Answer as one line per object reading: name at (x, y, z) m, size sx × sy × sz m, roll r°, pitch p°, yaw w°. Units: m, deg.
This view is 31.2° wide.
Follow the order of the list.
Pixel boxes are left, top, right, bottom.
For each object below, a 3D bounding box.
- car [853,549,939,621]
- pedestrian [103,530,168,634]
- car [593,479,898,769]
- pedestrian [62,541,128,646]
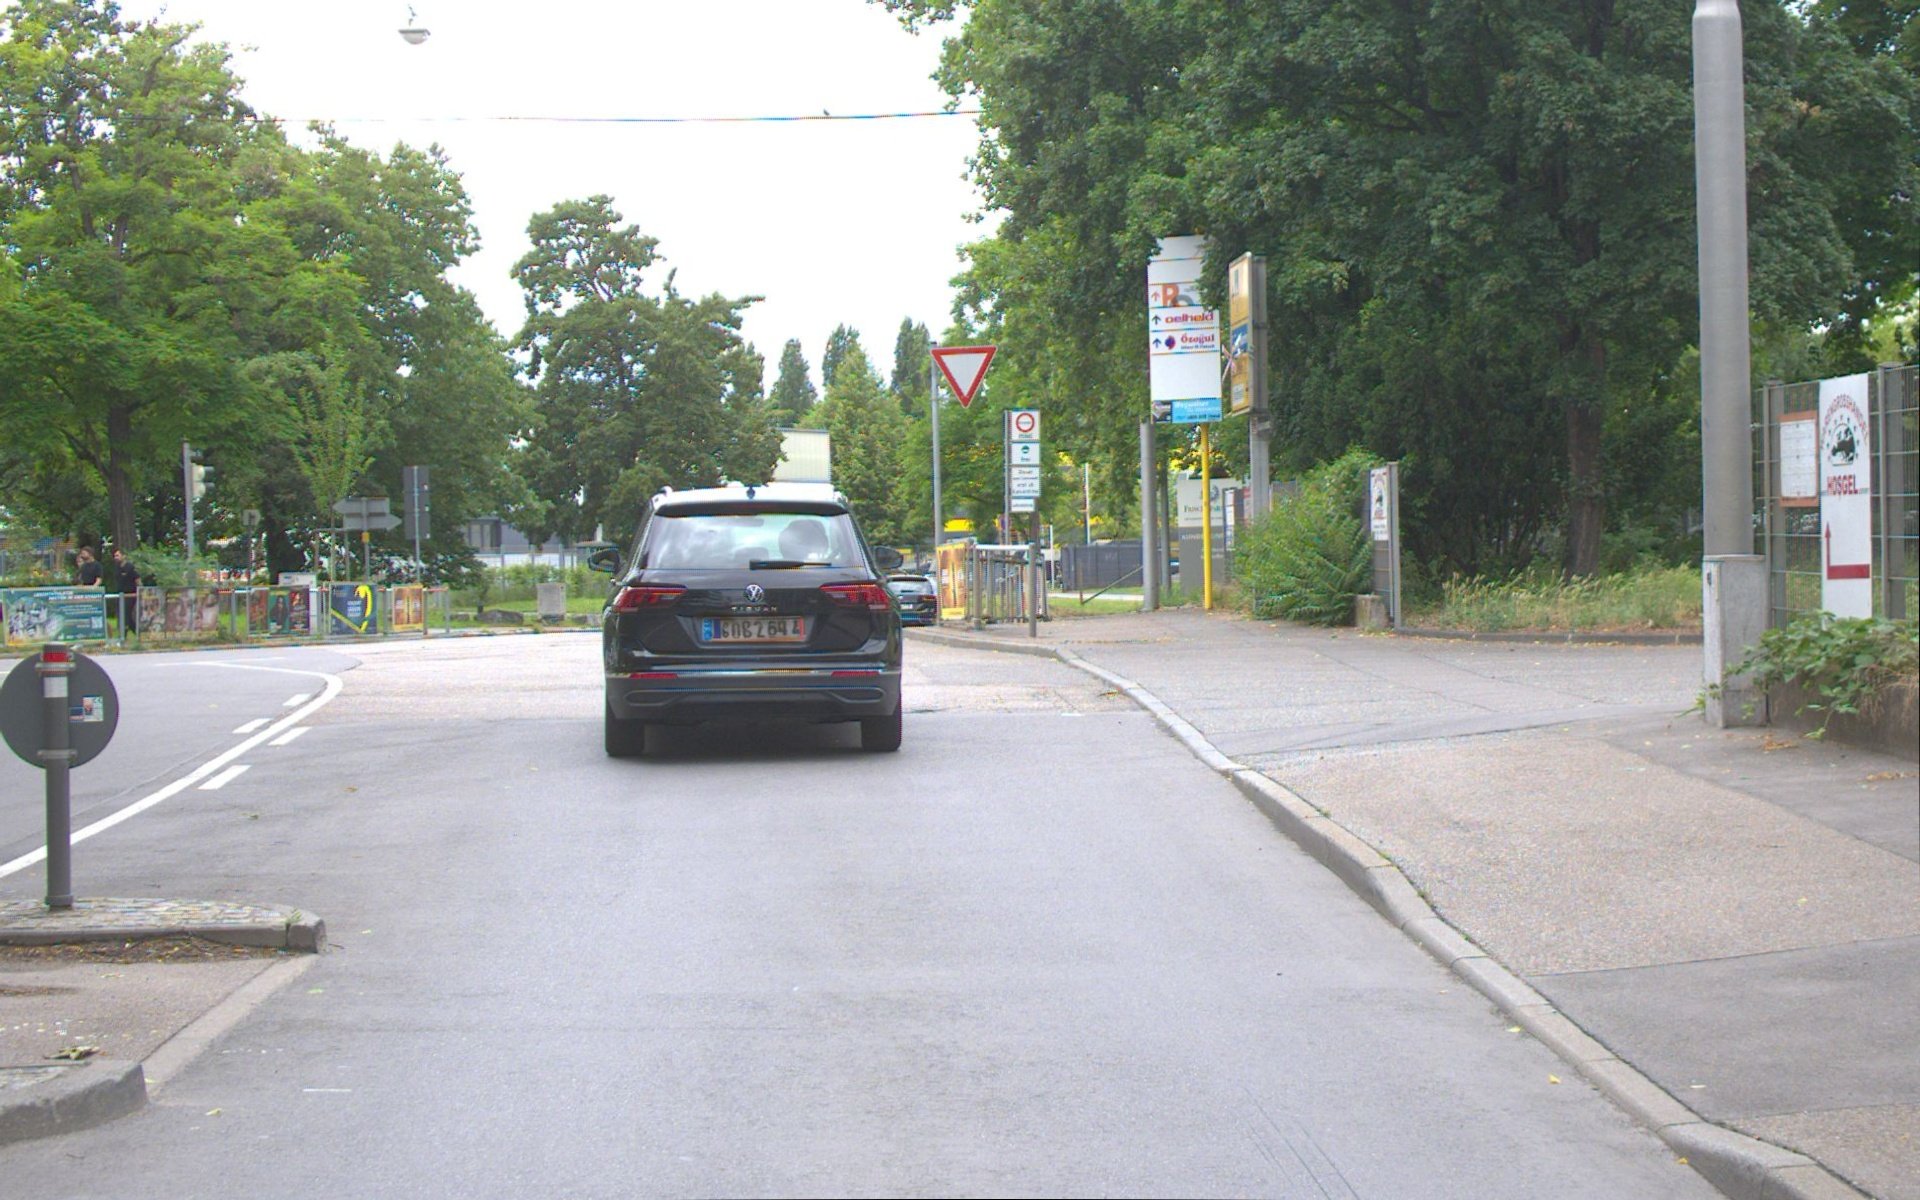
car at (-1.480, -0.363, 80.456) m, size 1.659 × 1.569 × 3.828 m, roll -2°, pitch 1°, yaw 4°
pedestrian at (-13.988, -0.308, 58.341) m, size 0.743 × 1.736 × 0.726 m, roll -1°, pitch 1°, yaw 39°
car at (-1.375, 0.076, 21.775) m, size 1.739 × 1.612 × 3.642 m, roll -1°, pitch 3°, yaw -4°
pedestrian at (-14.524, -0.116, 57.735) m, size 0.743 × 1.736 × 0.726 m, roll -1°, pitch 1°, yaw 39°
